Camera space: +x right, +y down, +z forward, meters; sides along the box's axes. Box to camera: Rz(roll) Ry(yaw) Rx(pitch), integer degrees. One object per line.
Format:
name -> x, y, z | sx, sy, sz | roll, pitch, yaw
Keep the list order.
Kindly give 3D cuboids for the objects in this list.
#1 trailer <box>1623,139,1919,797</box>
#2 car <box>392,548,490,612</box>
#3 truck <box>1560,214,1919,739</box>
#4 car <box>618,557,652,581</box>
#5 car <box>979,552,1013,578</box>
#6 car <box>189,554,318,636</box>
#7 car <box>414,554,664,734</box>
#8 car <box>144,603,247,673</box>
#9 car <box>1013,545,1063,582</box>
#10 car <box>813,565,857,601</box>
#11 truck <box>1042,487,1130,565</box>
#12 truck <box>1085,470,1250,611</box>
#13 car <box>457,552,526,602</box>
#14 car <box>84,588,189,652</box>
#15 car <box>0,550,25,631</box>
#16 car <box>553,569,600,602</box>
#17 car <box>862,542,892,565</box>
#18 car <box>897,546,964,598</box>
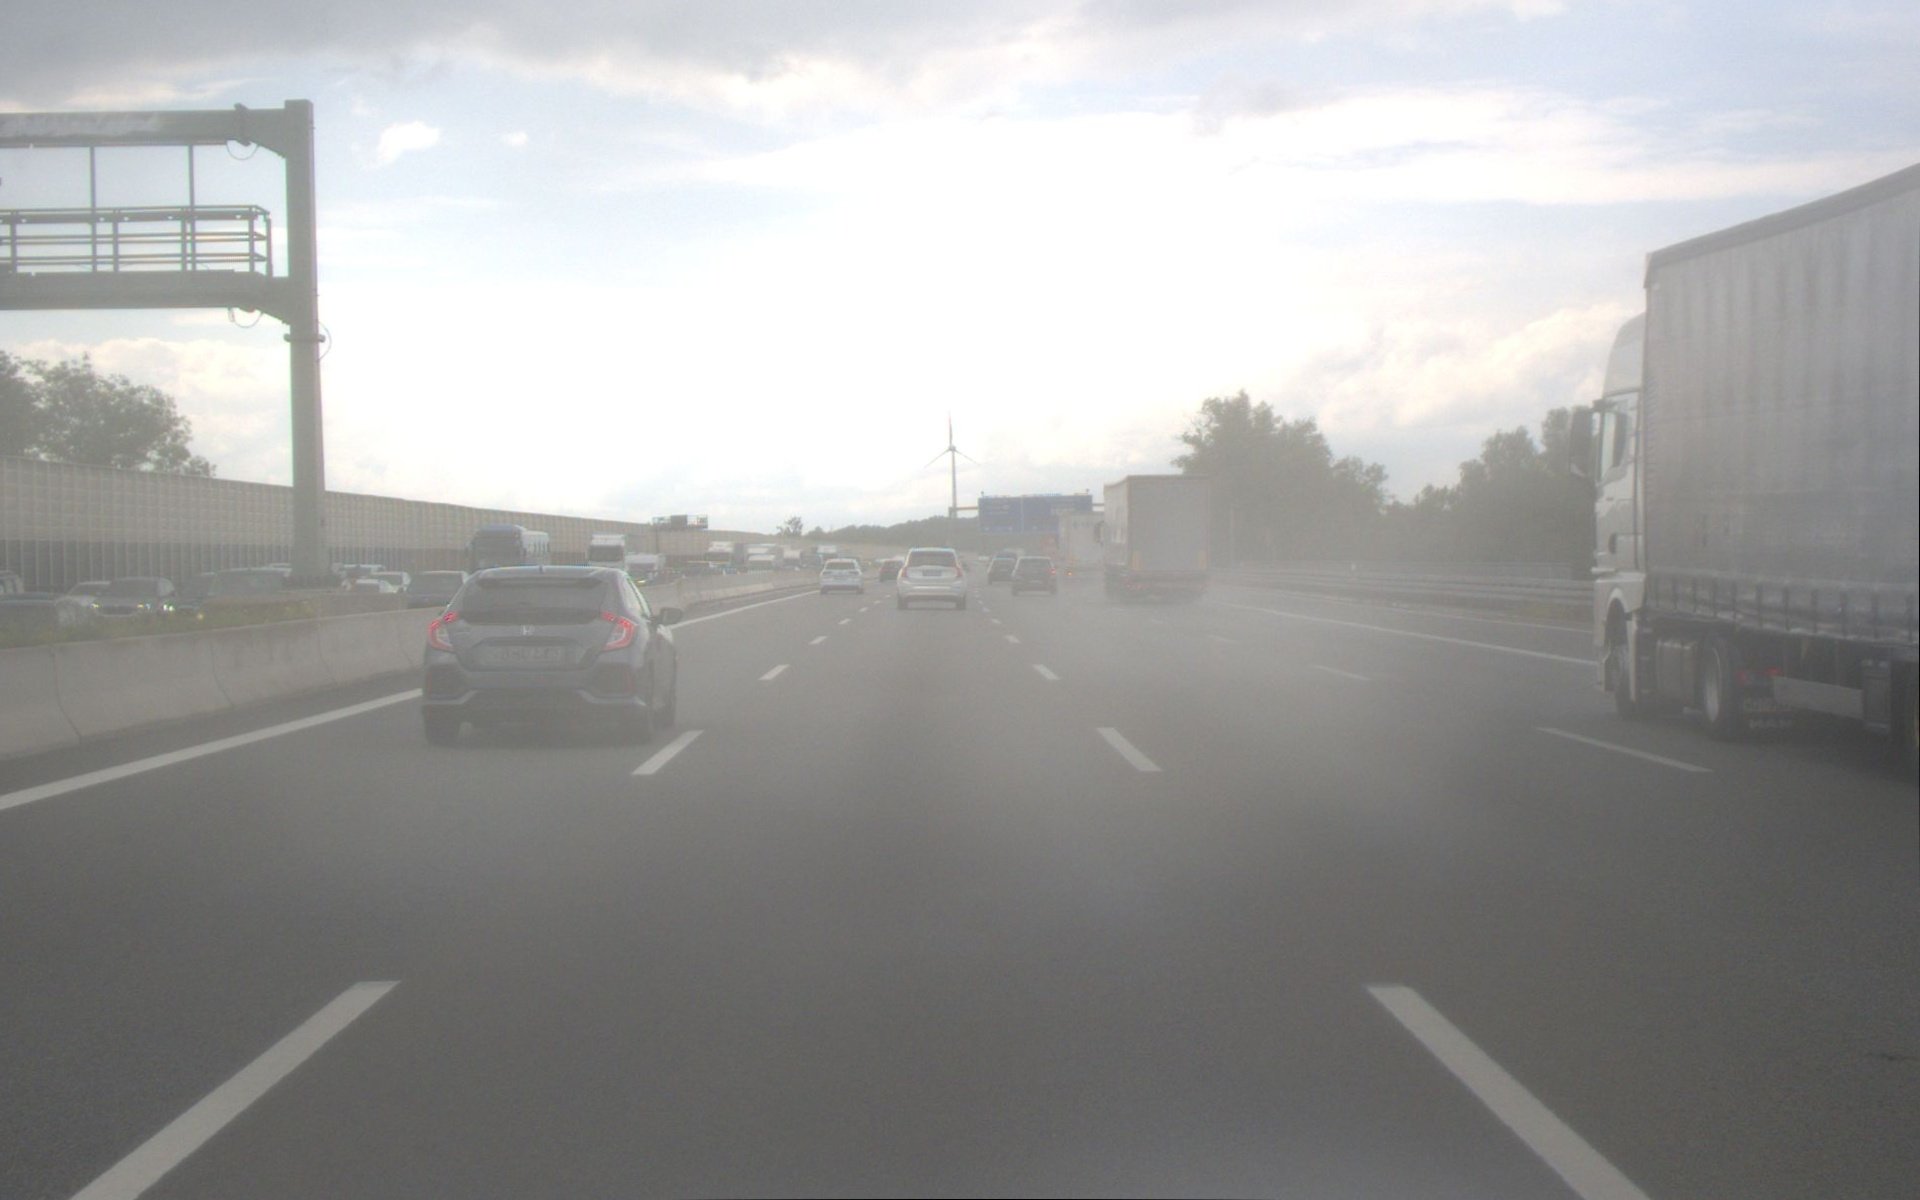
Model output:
trailer -> 7.307, -0.843, 22.753 | 2.961, 4.006, 14.119 | 0, 1, -1
car -> -14.794, -0.589, 98.271 | 1.880, 1.738, 5.110 | -1, 1, 2
truck -> 7.249, -1.011, 29.556 | 2.961, 4.006, 6.589 | 0, 1, -1
car -> -21.858, -2.079, 231.391 | 1.747, 1.520, 5.140 | -1, 1, 0
car -> 2.030, -1.971, 194.417 | 1.835, 1.436, 4.056 | 0, 1, -1
car -> -15.436, -0.135, 75.330 | 1.816, 1.703, 4.807 | -1, 1, 0
car -> -3.529, 0.314, 29.577 | 1.760, 1.364, 5.061 | 0, 1, -3
car -> -18.521, 0.912, 83.413 | 1.682, 1.572, 3.875 | -1, 1, -1
car -> 3.076, -1.459, 136.141 | 1.835, 1.436, 4.056 | 0, 1, -1
car -> -5.177, -0.716, 141.905 | 1.772, 1.436, 3.874 | 0, 1, -2
truck -> 6.971, -4.087, 191.892 | 4.243, 4.162, 11.990 | 1, 1, -1
truck -> 6.618, -1.942, 112.205 | 4.179, 4.273, 12.614 | 1, 1, -2
car -> -15.545, -0.775, 114.271 | 1.747, 1.625, 3.748 | -1, 1, 0
car -> -22.485, 0.536, 93.996 | 1.821, 1.625, 4.526 | -1, 1, -1
car -> -22.687, -0.204, 78.181 | 1.747, 1.841, 4.166 | -1, 1, -1
car -> -19.035, -0.725, 170.706 | 1.747, 1.520, 4.927 | -1, 1, 0
car -> -5.312, -2.974, 218.624 | 1.772, 1.436, 4.056 | 0, 1, -3
car -> -0.873, -0.819, 98.384 | 1.772, 1.436, 4.056 | 0, 1, -3
